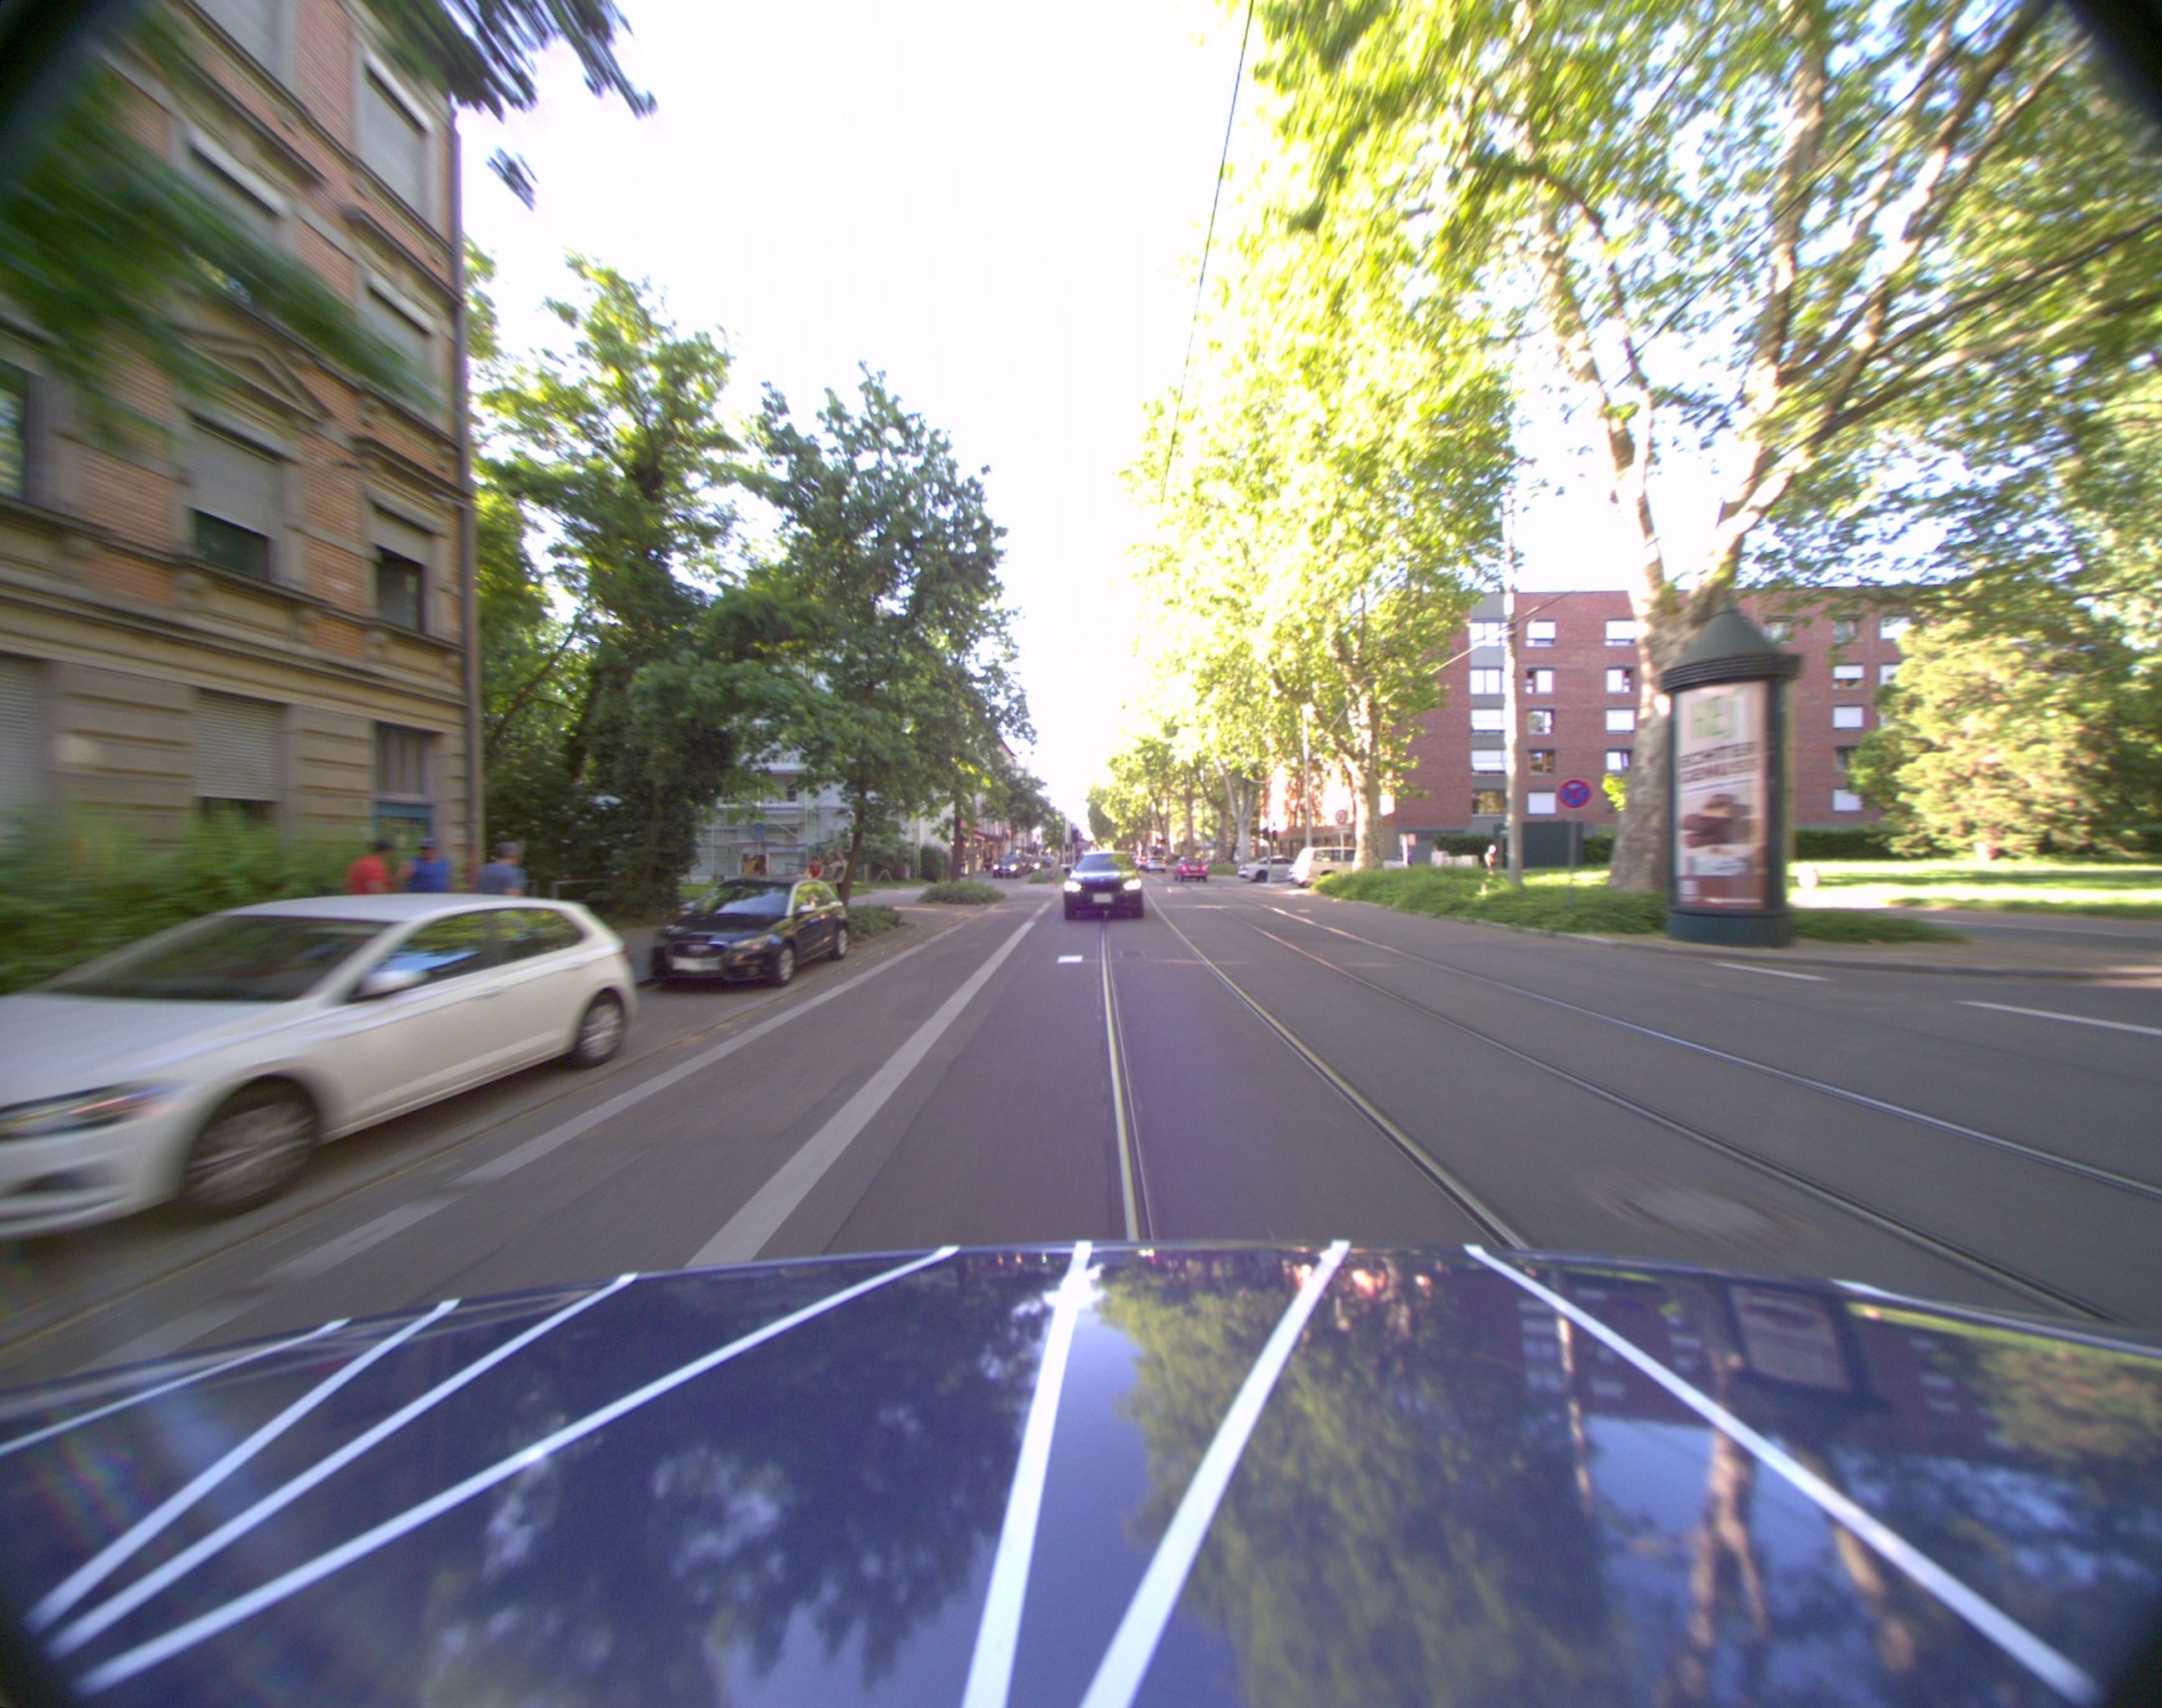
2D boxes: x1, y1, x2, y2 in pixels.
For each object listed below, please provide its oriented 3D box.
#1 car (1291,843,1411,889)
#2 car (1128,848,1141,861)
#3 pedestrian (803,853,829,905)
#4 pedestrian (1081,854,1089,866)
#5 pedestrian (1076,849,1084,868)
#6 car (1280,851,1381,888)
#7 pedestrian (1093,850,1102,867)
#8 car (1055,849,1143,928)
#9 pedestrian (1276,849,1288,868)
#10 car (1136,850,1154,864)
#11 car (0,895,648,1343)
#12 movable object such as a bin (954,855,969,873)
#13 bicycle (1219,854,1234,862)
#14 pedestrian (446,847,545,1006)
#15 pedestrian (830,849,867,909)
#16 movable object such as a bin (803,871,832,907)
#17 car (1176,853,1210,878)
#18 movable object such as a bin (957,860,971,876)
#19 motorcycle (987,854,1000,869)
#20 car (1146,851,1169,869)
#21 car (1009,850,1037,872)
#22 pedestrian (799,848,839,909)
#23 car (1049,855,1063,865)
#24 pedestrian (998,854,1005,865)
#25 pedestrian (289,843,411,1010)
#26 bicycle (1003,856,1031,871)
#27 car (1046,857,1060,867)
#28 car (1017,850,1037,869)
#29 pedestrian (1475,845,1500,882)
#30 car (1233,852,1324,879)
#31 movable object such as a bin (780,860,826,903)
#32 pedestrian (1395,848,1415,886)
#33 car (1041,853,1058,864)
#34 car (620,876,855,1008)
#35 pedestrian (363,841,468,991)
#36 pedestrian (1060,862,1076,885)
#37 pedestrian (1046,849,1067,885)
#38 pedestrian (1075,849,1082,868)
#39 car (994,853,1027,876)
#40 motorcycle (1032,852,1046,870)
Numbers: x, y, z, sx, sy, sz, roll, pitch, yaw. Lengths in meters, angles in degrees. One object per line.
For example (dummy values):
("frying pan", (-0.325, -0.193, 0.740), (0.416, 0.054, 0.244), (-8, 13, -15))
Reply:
("car", (11.812, 0.514, 33.447), (4.582, 1.823, 1.938), (-2, 1, 1))
("car", (12.191, 0.100, 173.819), (2.429, 2.833, 5.072), (-2, 0, 1))
("pedestrian", (-8.935, 0.842, 25.608), (0.619, 1.716, 0.554), (-1, 1, 4))
("pedestrian", (0.432, 0.660, 83.764), (0.721, 1.318, 0.493), (-2, 1, -10))
("pedestrian", (-0.078, 0.409, 71.325), (0.689, 1.745, 0.580), (-2, 1, -5))
("car", (11.812, 0.718, 36.170), (4.150, 1.637, 1.902), (-2, 1, 0))
("pedestrian", (1.679, 0.416, 76.931), (0.836, 1.703, 0.640), (-2, 1, 2))
("car", (0.597, 0.772, 19.669), (1.936, 1.718, 5.074), (-2, 0, 4))
("pedestrian", (18.367, 0.394, 69.429), (0.765, 1.733, 0.972), (-2, 1, 1))
("car", (7.178, 0.281, 85.784), (1.779, 1.452, 4.204), (-2, 0, 2))
("car", (-4.900, 1.094, 4.807), (1.888, 1.360, 4.107), (2, 1, 1))
("movable object such as a bin", (-9.060, 0.757, 57.481), (1.002, 1.389, 0.824), (1, 1, -1))
("bicycle", (21.641, 0.557, 113.270), (2.098, 1.182, 0.882), (-1, 1, 18))
("pedestrian", (-6.879, 0.814, 8.964), (0.600, 1.783, 0.727), (-2, 1, -11))
("pedestrian", (-7.091, 0.743, 23.182), (0.727, 1.783, 0.854), (1, 1, 12))
("movable object such as a bin", (-8.665, 1.150, 24.976), (0.667, 1.120, 0.956), (-2, 1, -6))
("car", (6.836, 0.674, 46.760), (1.665, 1.435, 3.473), (-2, 0, 2))
("movable object such as a bin", (-8.500, 1.005, 55.302), (0.883, 1.104, 0.697), (1, 1, -1))
("motorcycle", (-8.628, 0.755, 74.899), (0.954, 1.309, 2.650), (5, -1, -1))
("car", (7.221, 0.541, 71.981), (1.820, 1.559, 4.116), (1, 1, 1))
("car", (-5.226, 0.612, 68.877), (1.998, 1.885, 4.195), (3, 0, 3))
("pedestrian", (-7.899, 0.722, 22.952), (0.727, 1.783, 0.969), (1, 1, 12))
("car", (-4.117, 0.998, 125.681), (1.998, 1.572, 4.000), (-2, 0, 1))
("pedestrian", (-8.738, 0.620, 83.918), (0.680, 1.198, 0.648), (-2, 1, -10))
("pedestrian", (-8.154, 0.774, 8.512), (0.600, 1.783, 0.728), (-2, 1, -5))
("bicycle", (-5.407, 0.818, 63.993), (2.209, 1.203, 1.029), (1, 1, 1))
("car", (-4.414, 1.242, 119.691), (1.899, 1.477, 4.000), (-2, 0, 1))
("car", (-5.307, 0.551, 75.341), (1.693, 1.745, 4.173), (-2, 0, 0))
("pedestrian", (18.601, 0.415, 34.785), (0.711, 1.663, 0.779), (-2, 1, 1))
("car", (11.490, 0.654, 44.432), (4.776, 1.452, 1.954), (-2, 1, 0))
("movable object such as a bin", (-7.991, 0.777, 21.887), (0.640, 1.195, 1.306), (1, 1, 12))
("pedestrian", (15.479, 0.624, 36.282), (0.645, 1.799, 0.752), (-1, 1, 7))
("car", (-4.565, 0.651, 109.429), (1.958, 1.474, 4.660), (-2, 0, 3))
("car", (-4.717, 1.118, 11.091), (1.677, 1.404, 3.842), (2, 1, 0))
("pedestrian", (-8.253, 0.744, 9.453), (0.600, 1.783, 0.728), (-2, 1, -1))
("pedestrian", (-0.697, 1.004, 39.421), (0.676, 1.112, 0.659), (-2, 1, -12))
("pedestrian", (-1.303, 0.689, 40.217), (0.870, 1.874, 0.996), (-2, 1, -17))
("pedestrian", (-0.222, 0.408, 72.020), (0.493, 1.760, 0.704), (-1, 1, 16))
("car", (-5.171, 0.730, 56.164), (1.766, 1.612, 4.442), (1, 0, 3))
("motorcycle", (-3.591, 0.580, 65.110), (1.054, 1.446, 2.208), (-2, 1, 1))
